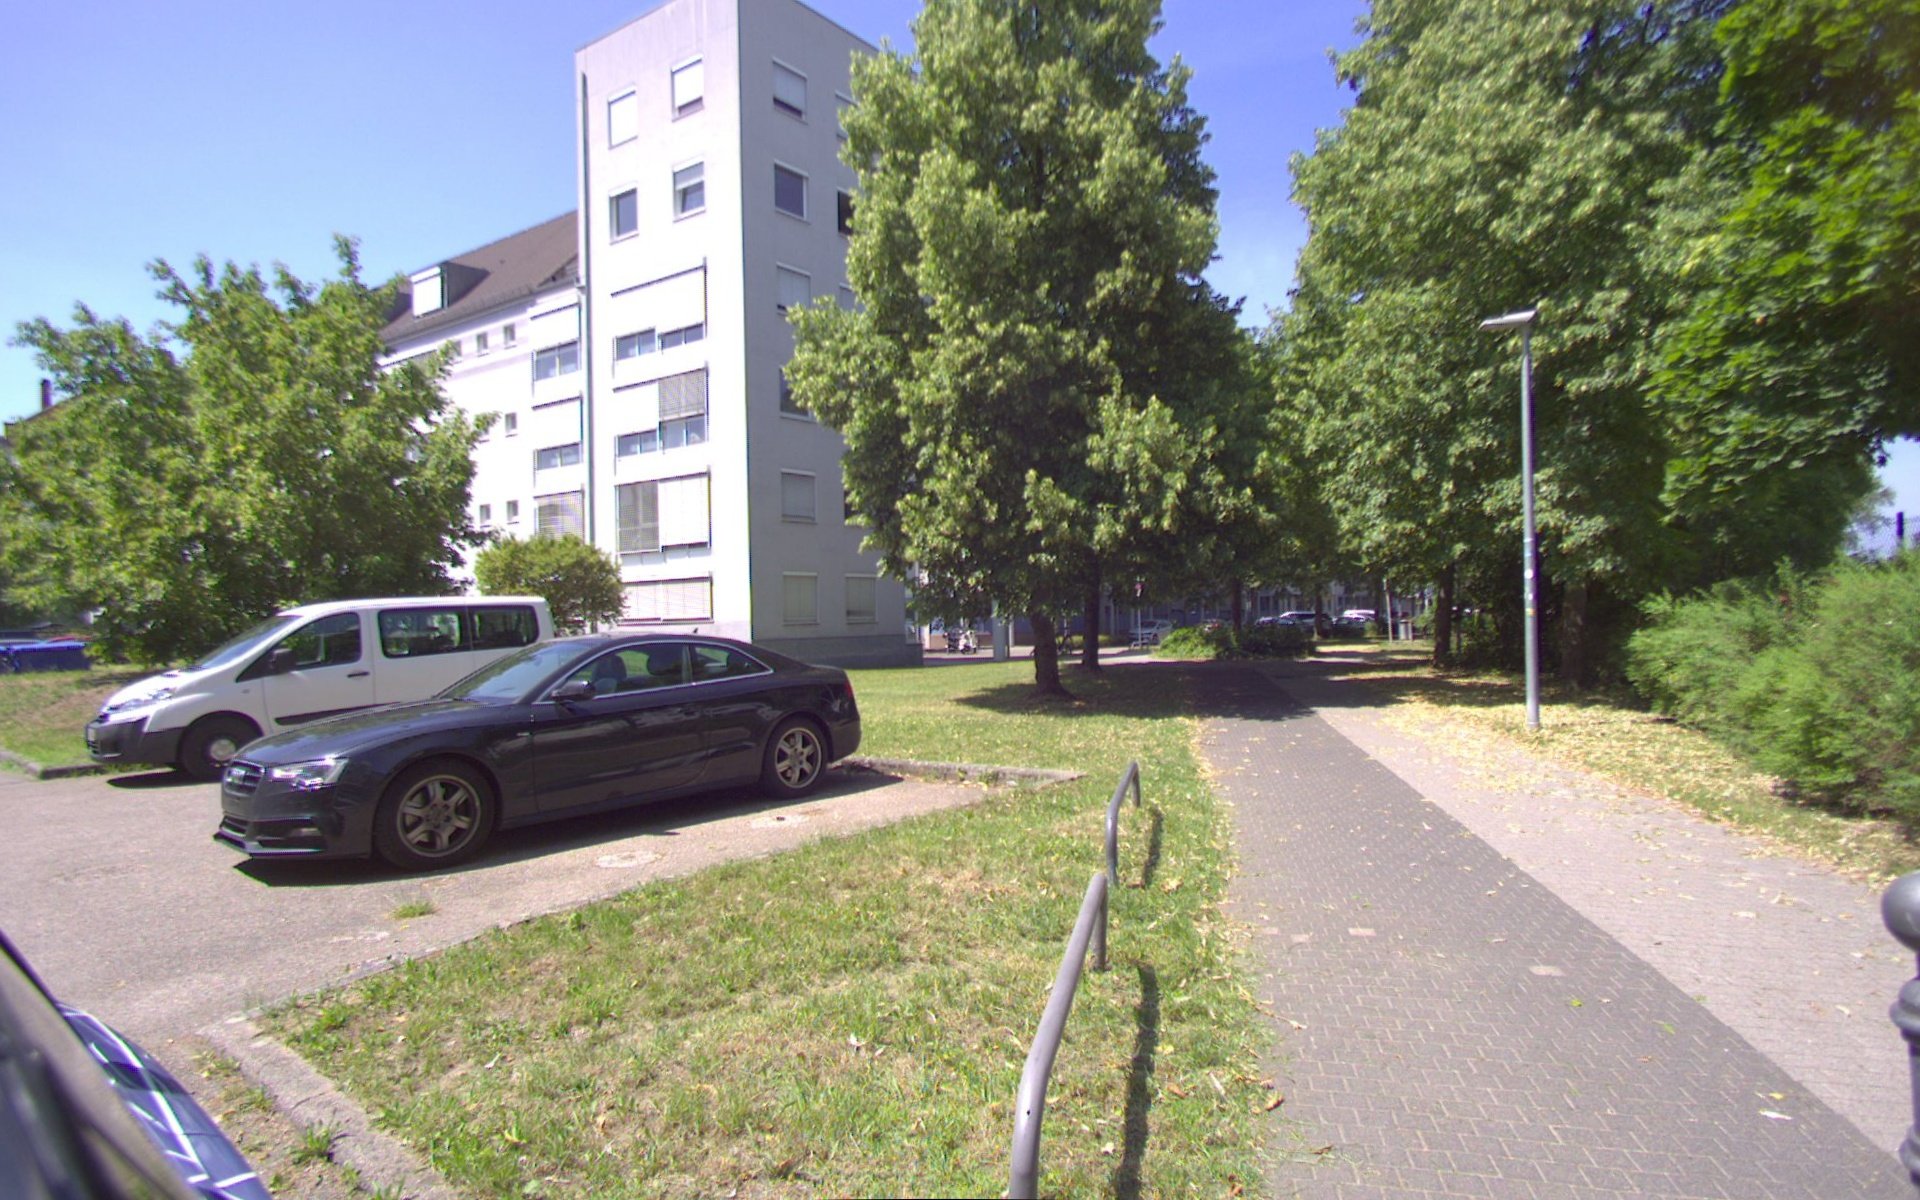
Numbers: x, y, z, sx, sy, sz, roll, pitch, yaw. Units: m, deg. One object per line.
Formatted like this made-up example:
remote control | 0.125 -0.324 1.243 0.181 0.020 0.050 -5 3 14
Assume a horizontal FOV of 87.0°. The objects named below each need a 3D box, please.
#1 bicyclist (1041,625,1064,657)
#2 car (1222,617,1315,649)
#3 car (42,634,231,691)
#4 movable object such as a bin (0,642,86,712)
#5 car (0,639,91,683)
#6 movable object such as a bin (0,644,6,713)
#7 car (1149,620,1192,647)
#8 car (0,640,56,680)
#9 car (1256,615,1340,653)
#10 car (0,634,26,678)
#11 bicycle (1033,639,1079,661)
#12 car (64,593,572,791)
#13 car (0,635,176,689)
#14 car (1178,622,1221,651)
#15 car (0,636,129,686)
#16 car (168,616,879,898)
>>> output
bicyclist | 3.154 1.407 34.514 0.518 1.053 0.515 -6 -5 42
car | 16.205 1.719 53.247 4.335 1.622 1.909 -1 -1 38
car | -26.102 1.926 32.234 1.609 1.581 4.395 -1 -1 34
movable object such as a bin | -19.648 1.624 21.685 1.094 1.399 1.255 -2 -1 40
car | -36.640 2.370 39.265 1.609 1.581 4.176 -1 -1 34
movable object such as a bin | -20.442 1.620 20.677 1.094 1.399 1.255 -2 -1 40
car | 13.112 2.069 62.840 1.798 1.615 3.862 -1 -1 25
car | -39.362 2.449 40.762 1.609 1.581 4.176 -1 -1 34
car | 18.694 1.874 56.023 3.994 2.029 1.975 -1 -1 38
car | -41.998 2.379 42.178 2.005 1.837 4.176 -1 -1 34
bicycle | 3.301 1.716 34.732 0.734 0.646 1.594 -5 -4 40
car | -7.455 0.906 12.182 2.067 1.898 4.796 -2 -1 42
car | -28.665 1.979 33.371 1.609 1.581 4.176 -1 -1 34
car | 14.432 2.183 60.907 1.798 1.615 3.862 -1 -1 25
car | -31.603 2.078 34.991 1.609 1.581 4.176 -1 -1 34
car | -2.904 0.883 7.485 2.023 1.390 4.382 -5 -3 42
